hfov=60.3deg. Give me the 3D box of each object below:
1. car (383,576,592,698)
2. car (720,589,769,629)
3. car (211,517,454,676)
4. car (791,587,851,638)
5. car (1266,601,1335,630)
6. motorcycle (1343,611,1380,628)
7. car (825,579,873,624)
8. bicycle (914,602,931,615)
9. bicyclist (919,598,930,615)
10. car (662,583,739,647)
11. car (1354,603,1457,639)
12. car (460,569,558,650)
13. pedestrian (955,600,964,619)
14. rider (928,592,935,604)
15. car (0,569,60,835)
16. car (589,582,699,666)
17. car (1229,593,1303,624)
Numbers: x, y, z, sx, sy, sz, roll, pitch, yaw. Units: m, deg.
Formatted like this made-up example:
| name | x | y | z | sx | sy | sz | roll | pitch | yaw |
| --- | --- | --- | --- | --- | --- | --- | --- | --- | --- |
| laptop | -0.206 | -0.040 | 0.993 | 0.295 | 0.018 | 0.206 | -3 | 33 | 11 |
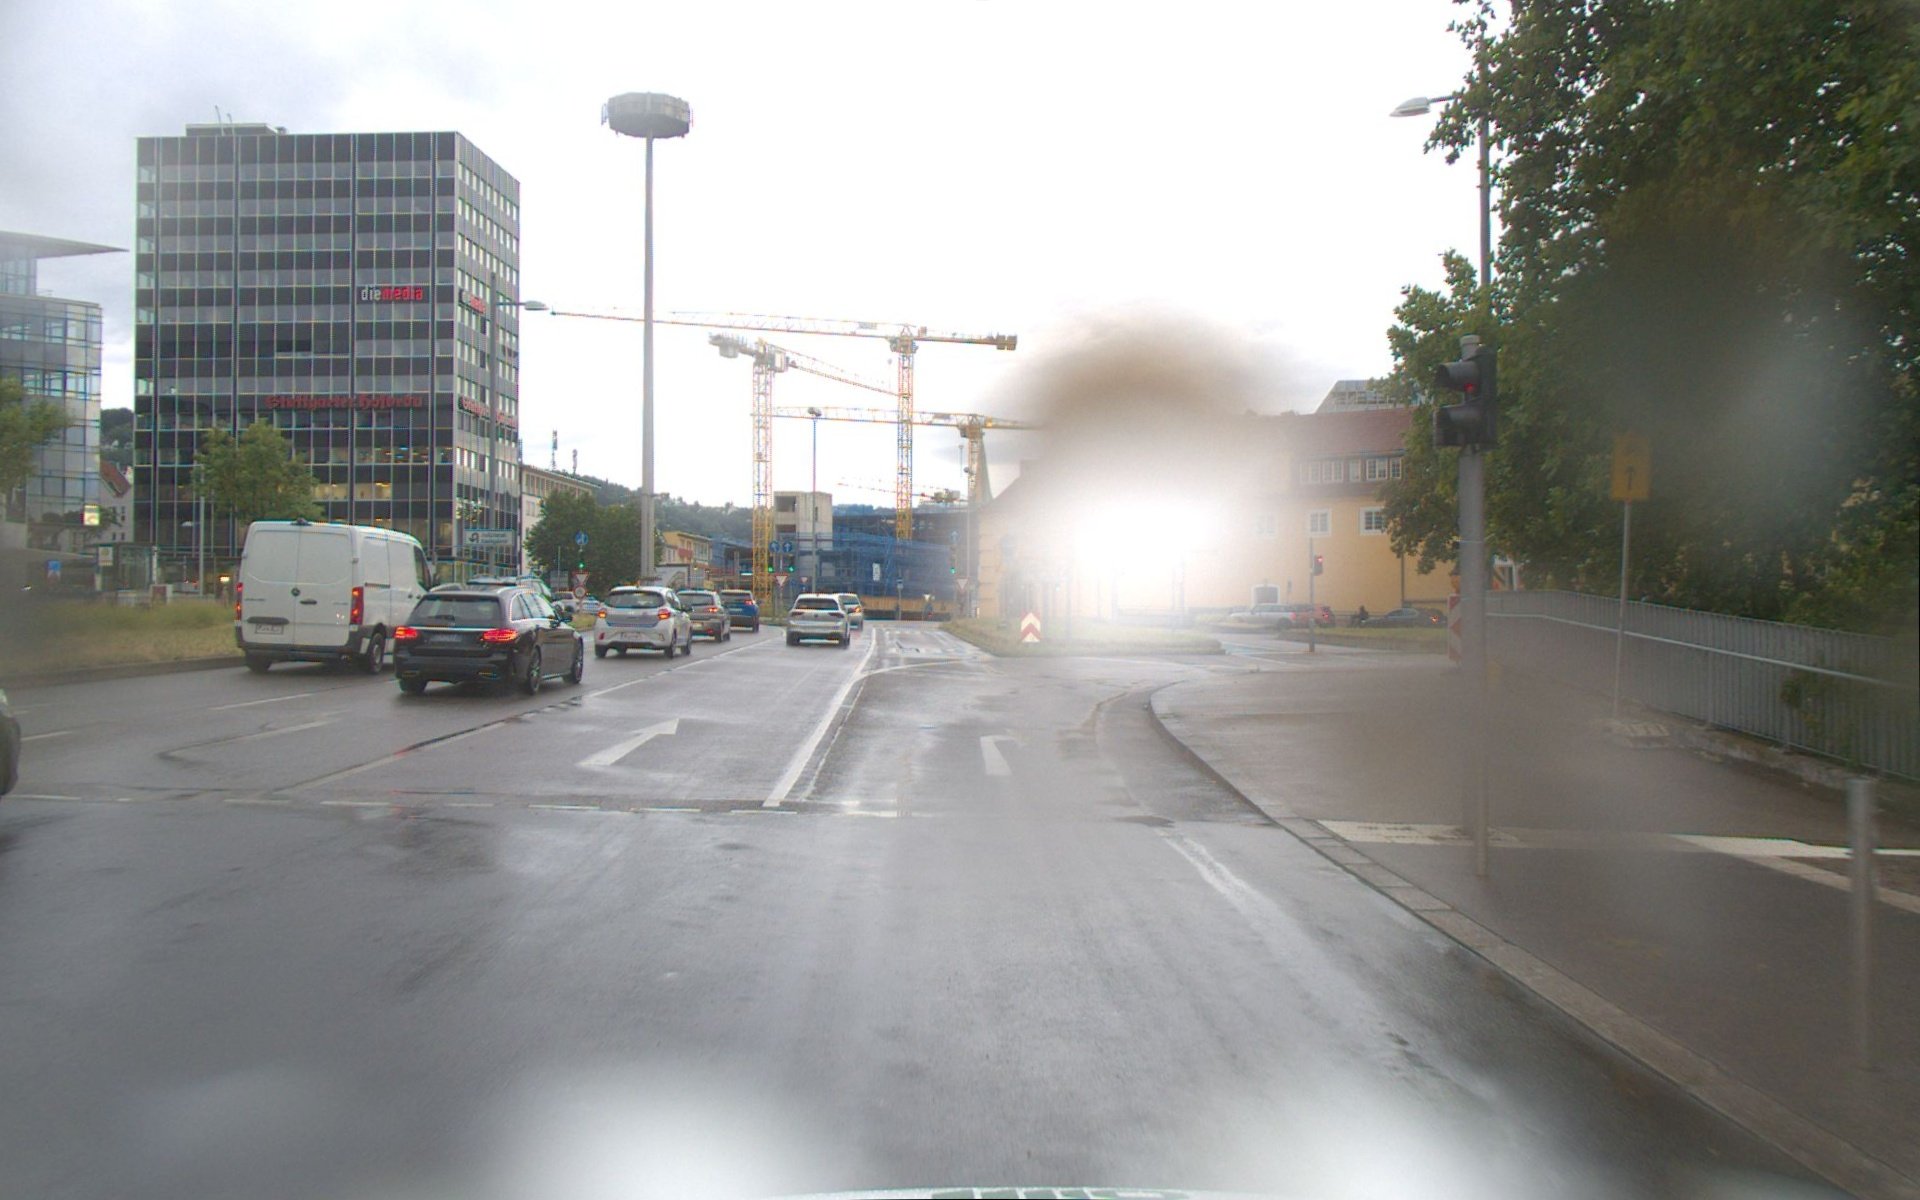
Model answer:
| name | x | y | z | sx | sy | sz | roll | pitch | yaw |
| --- | --- | --- | --- | --- | --- | --- | --- | --- | --- |
| car | -6.388 | 0.459 | 22.715 | 1.792 | 1.520 | 3.400 | 1 | 0 | 1 |
| car | -8.034 | 0.353 | 61.919 | 1.463 | 1.393 | 3.032 | 1 | -2 | -1 |
| car | -10.242 | 0.012 | 27.501 | 2.246 | 2.355 | 5.003 | 1 | -2 | -2 |
| car | -3.954 | 0.382 | 47.318 | 1.414 | 1.383 | 2.412 | 1 | -2 | 2 |
| car | 18.199 | 0.841 | 88.476 | 3.330 | 1.498 | 1.652 | 1 | -2 | 23 |
| motorcycle | 21.797 | 1.050 | 89.801 | 1.923 | 0.867 | 0.546 | 1 | -2 | 22 |
| car | -4.629 | 0.036 | 69.360 | 1.633 | 1.772 | 3.288 | 2 | 1 | 1 |
| bicycle | -3.013 | 0.683 | 132.695 | 0.866 | 1.027 | 1.984 | 2 | -2 | -16 |
| bicyclist | -2.830 | 0.529 | 132.357 | 0.692 | 1.298 | 0.632 | 2 | -2 | -17 |
| car | -7.487 | 0.476 | 48.000 | 1.681 | 1.758 | 3.493 | 1 | -2 | -1 |
| car | 22.826 | 1.076 | 84.901 | 4.732 | 1.739 | 1.988 | 0 | -2 | 42 |
| car | -10.163 | 0.251 | 37.462 | 1.435 | 1.736 | 3.139 | 1 | -2 | -3 |
| pedestrian | -0.052 | 0.727 | 121.586 | 0.447 | 1.392 | 0.442 | 0 | -2 | 38 |
| rider | -2.547 | -0.142 | 147.287 | 0.606 | 1.057 | 0.533 | 1 | -2 | 1 |
| car | -6.190 | 0.567 | 7.744 | 1.718 | 1.497 | 4.221 | 1 | 0 | -2 |
| car | -6.777 | 0.535 | 35.790 | 1.843 | 1.682 | 3.455 | 1 | -2 | -3 |
| car | 15.481 | 0.425 | 83.602 | 3.334 | 1.508 | 1.833 | 1 | -2 | 25 |
